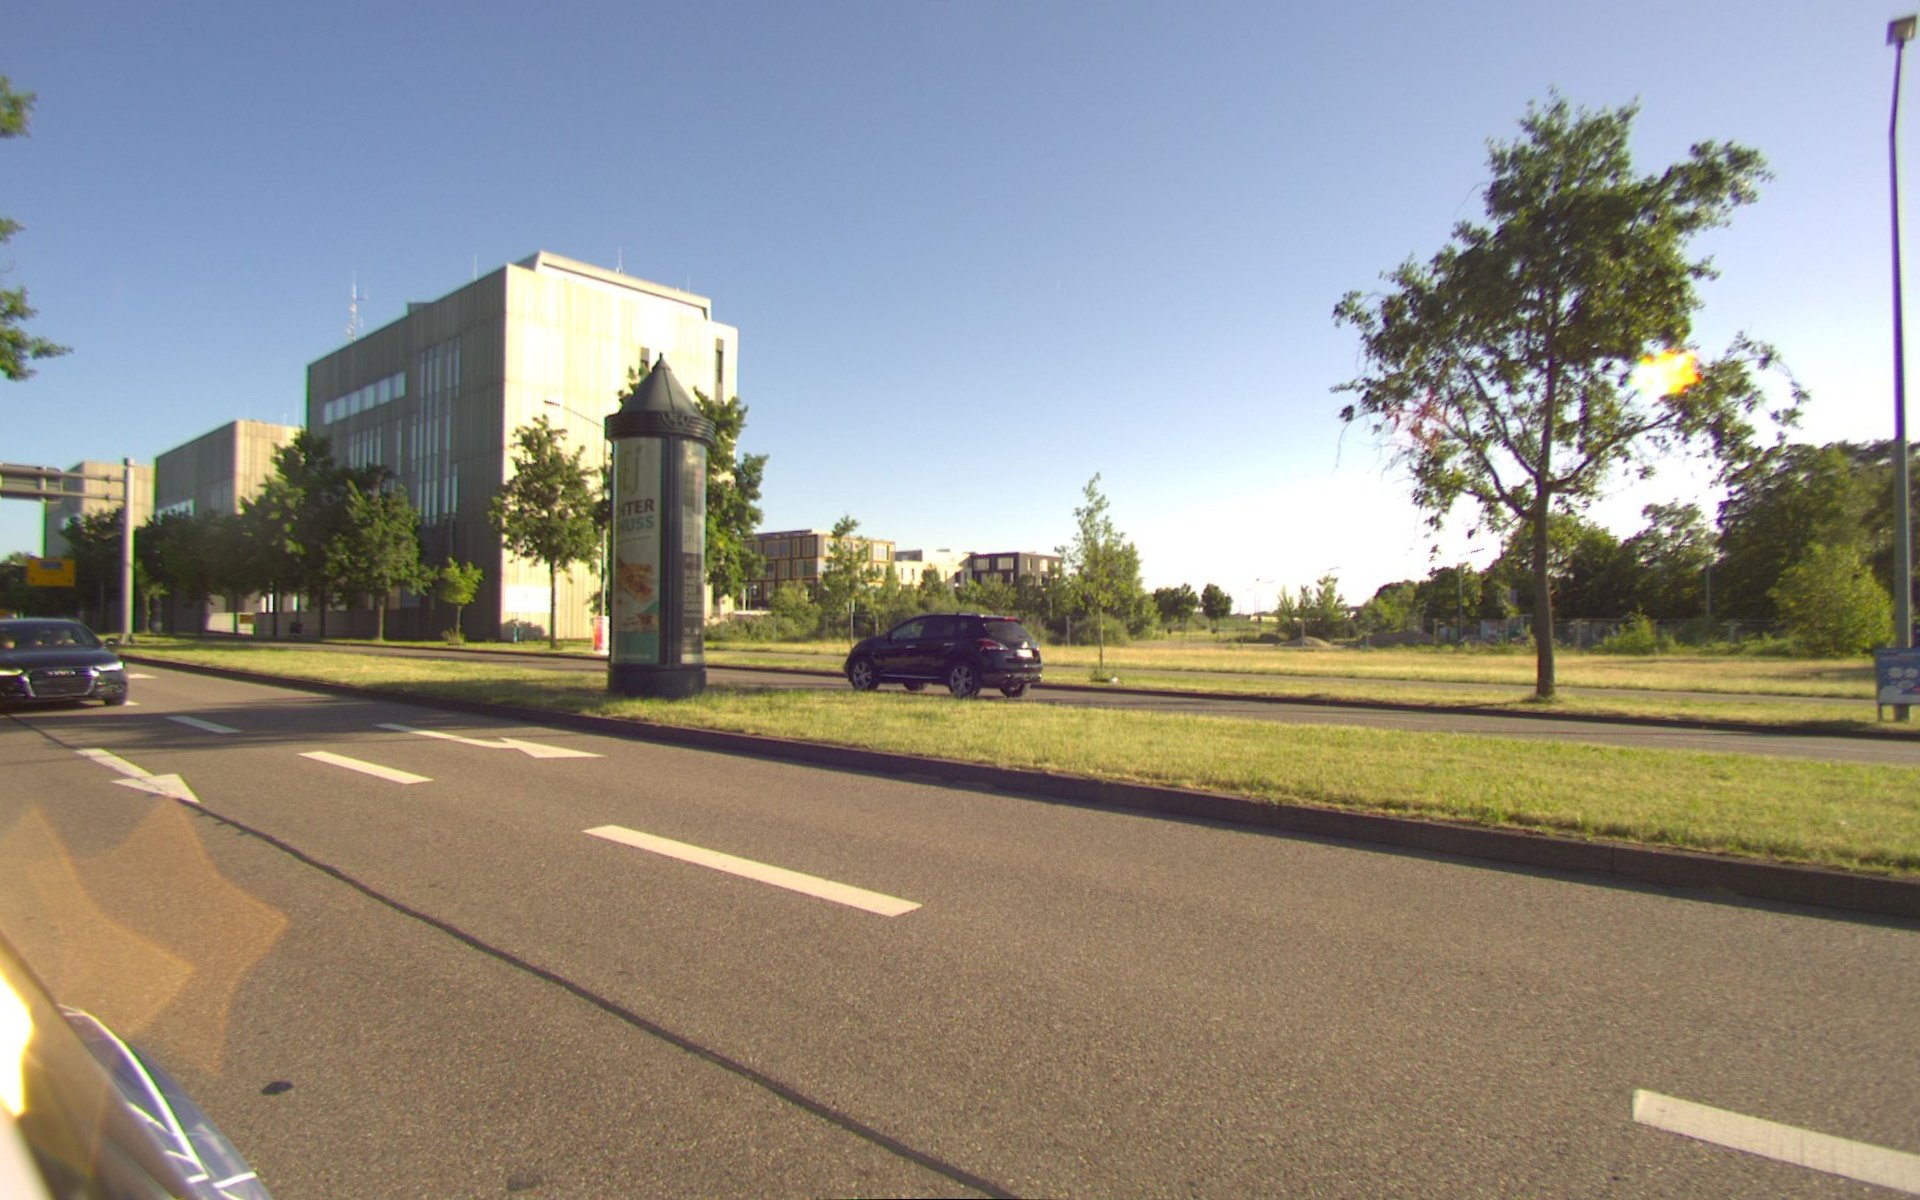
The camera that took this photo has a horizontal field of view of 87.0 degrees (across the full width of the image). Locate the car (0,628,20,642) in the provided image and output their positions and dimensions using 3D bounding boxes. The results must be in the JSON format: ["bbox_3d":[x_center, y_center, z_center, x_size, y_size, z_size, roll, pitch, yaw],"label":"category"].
[{"bbox_3d":[-114.697,4.201,121.741,3.998,1.590,1.973,-1,-2,41],"label":"car"}]

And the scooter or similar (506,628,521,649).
[{"bbox_3d":[-24.463,2.092,55.441,0.446,1.118,1.409,2,-2,-35],"label":"scooter or similar"}]

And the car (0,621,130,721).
[{"bbox_3d":[-15.592,1.090,16.888,5.012,1.454,1.774,-1,-1,40],"label":"car"}]

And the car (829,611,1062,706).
[{"bbox_3d":[-0.391,1.137,21.090,4.735,1.752,1.973,-1,-2,41],"label":"car"}]
